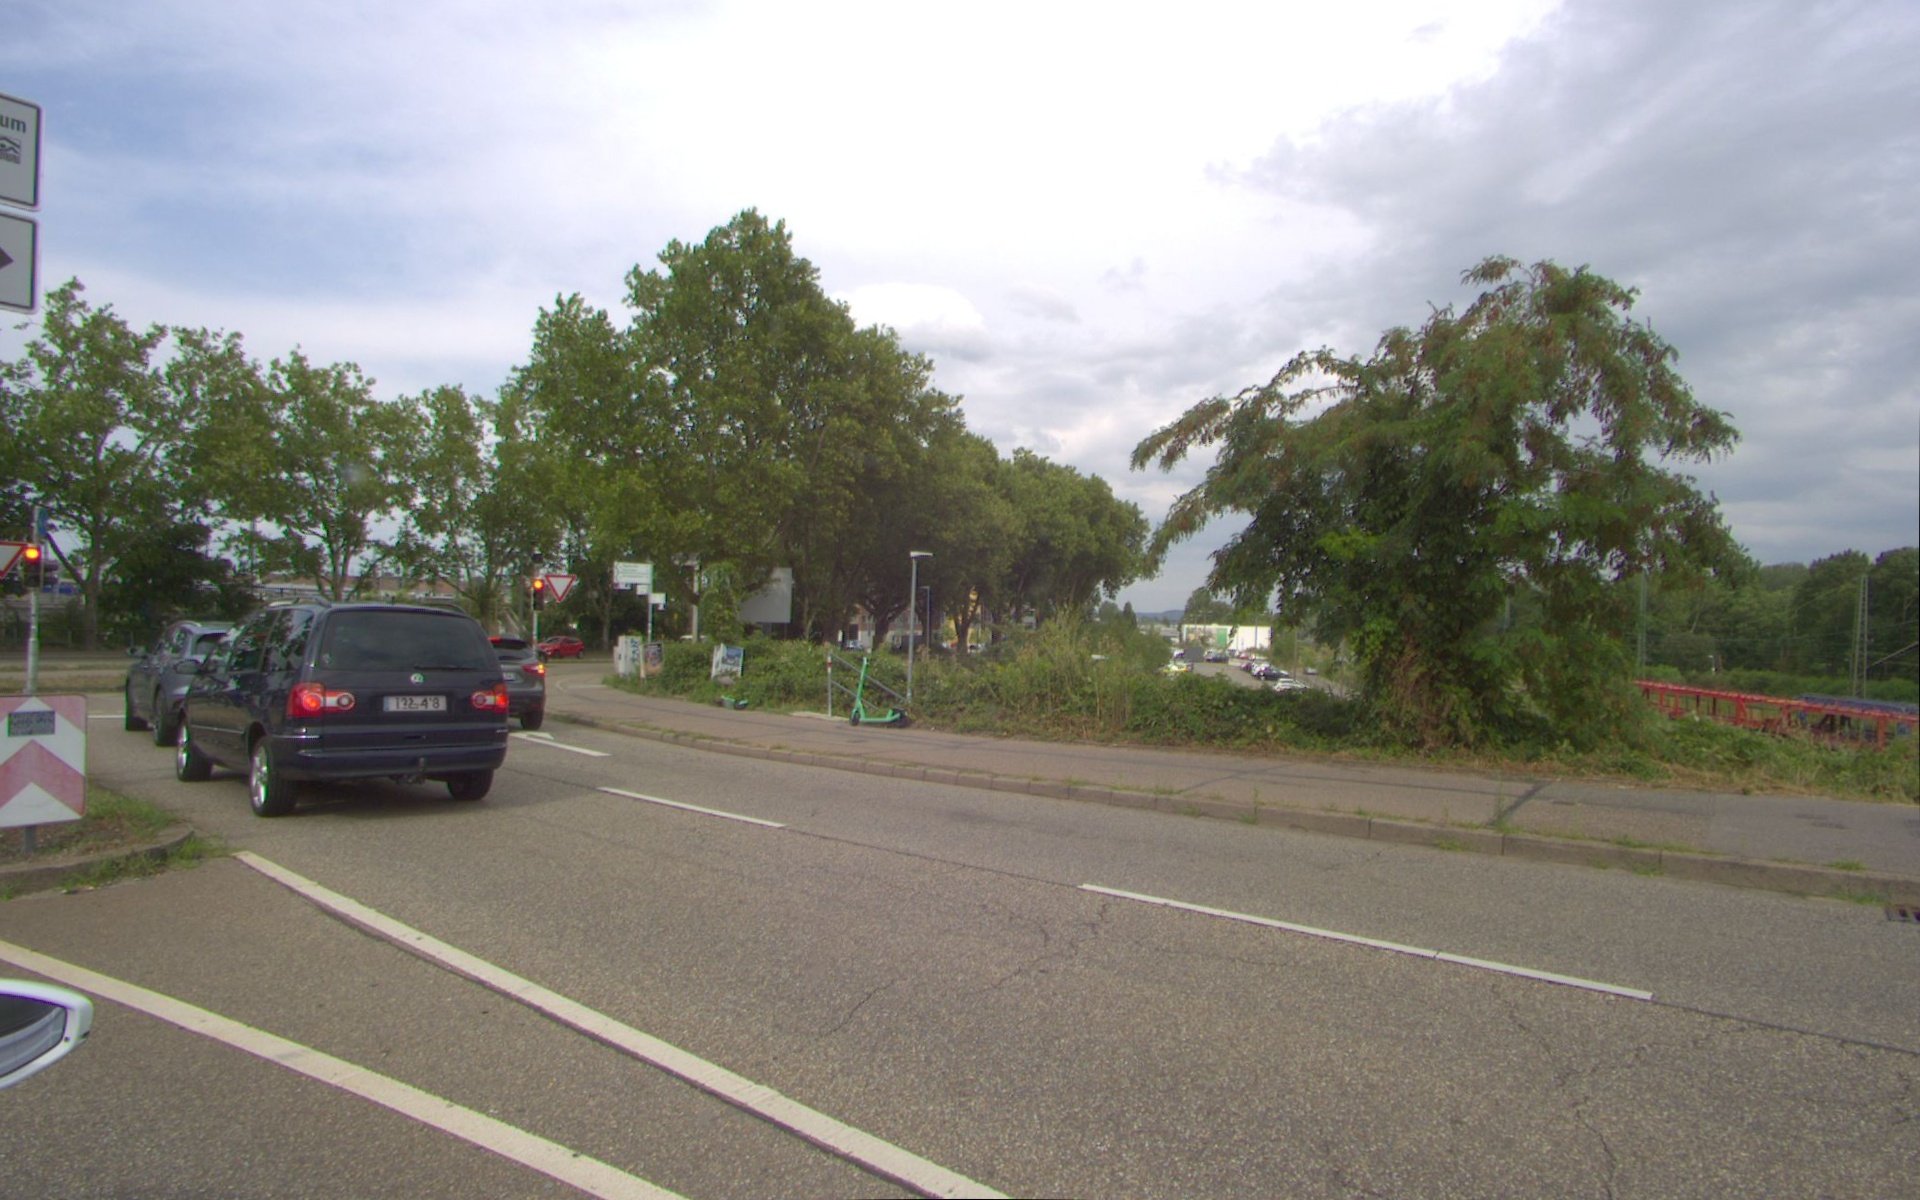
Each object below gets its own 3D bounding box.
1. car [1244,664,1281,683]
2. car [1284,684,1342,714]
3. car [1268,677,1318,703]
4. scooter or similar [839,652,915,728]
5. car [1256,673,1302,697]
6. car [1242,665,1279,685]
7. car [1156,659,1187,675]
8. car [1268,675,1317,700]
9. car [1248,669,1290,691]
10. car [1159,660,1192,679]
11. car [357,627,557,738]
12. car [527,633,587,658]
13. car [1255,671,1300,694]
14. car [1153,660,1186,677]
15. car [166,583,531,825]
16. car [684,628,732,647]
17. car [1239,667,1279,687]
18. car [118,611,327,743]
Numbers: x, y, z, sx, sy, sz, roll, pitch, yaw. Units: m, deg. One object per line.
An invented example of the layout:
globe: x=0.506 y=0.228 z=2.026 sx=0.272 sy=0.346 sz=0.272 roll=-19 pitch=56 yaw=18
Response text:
car: x=36.112 y=8.754 z=119.582 sx=3.923 sy=2.040 sz=1.762 roll=1 pitch=-1 yaw=10
car: x=26.886 y=7.511 z=76.373 sx=3.923 sy=2.040 sz=1.762 roll=1 pitch=-1 yaw=10
car: x=28.963 y=7.817 z=87.188 sx=3.923 sy=2.040 sz=1.762 roll=1 pitch=-1 yaw=10
scooter or similar: x=-1.371 y=1.457 z=16.445 sx=1.262 sy=1.198 sz=0.396 roll=-1 pitch=-1 yaw=32
car: x=30.167 y=8.026 z=94.822 sx=3.923 sy=2.040 sz=1.762 roll=1 pitch=-1 yaw=10
car: x=34.689 y=8.626 z=115.637 sx=3.923 sy=2.040 sz=1.762 roll=1 pitch=-1 yaw=10
car: x=28.009 y=8.857 z=132.506 sx=3.926 sy=2.040 sz=1.761 roll=1 pitch=-1 yaw=16
car: x=30.016 y=7.921 z=90.501 sx=3.923 sy=2.040 sz=1.762 roll=1 pitch=-1 yaw=10
car: x=32.103 y=8.295 z=104.252 sx=3.923 sy=2.040 sz=1.762 roll=1 pitch=-1 yaw=10
car: x=26.836 y=8.647 z=124.777 sx=3.926 sy=2.040 sz=1.761 roll=1 pitch=-1 yaw=16
car: x=-8.684 y=1.338 z=17.133 sx=4.094 sy=1.663 sz=1.742 roll=-2 pitch=-4 yaw=44
car: x=-26.057 y=2.925 z=64.925 sx=1.670 sy=1.466 sz=3.963 roll=0 pitch=-1 yaw=12
car: x=31.217 y=8.140 z=98.594 sx=3.923 sy=2.040 sz=1.762 roll=1 pitch=-1 yaw=10
car: x=26.706 y=8.712 z=127.676 sx=3.926 sy=2.040 sz=1.761 roll=1 pitch=-1 yaw=16
car: x=-5.791 y=0.849 z=9.275 sx=4.092 sy=1.746 sz=1.743 roll=-1 pitch=-4 yaw=42
car: x=-19.642 y=2.914 z=78.207 sx=1.729 sy=1.466 sz=4.339 roll=0 pitch=-1 yaw=16
car: x=32.892 y=8.456 z=110.281 sx=3.923 sy=2.040 sz=1.762 roll=1 pitch=-1 yaw=10
car: x=-10.539 y=1.034 z=14.202 sx=4.113 sy=1.604 sz=1.682 roll=-2 pitch=-4 yaw=44
